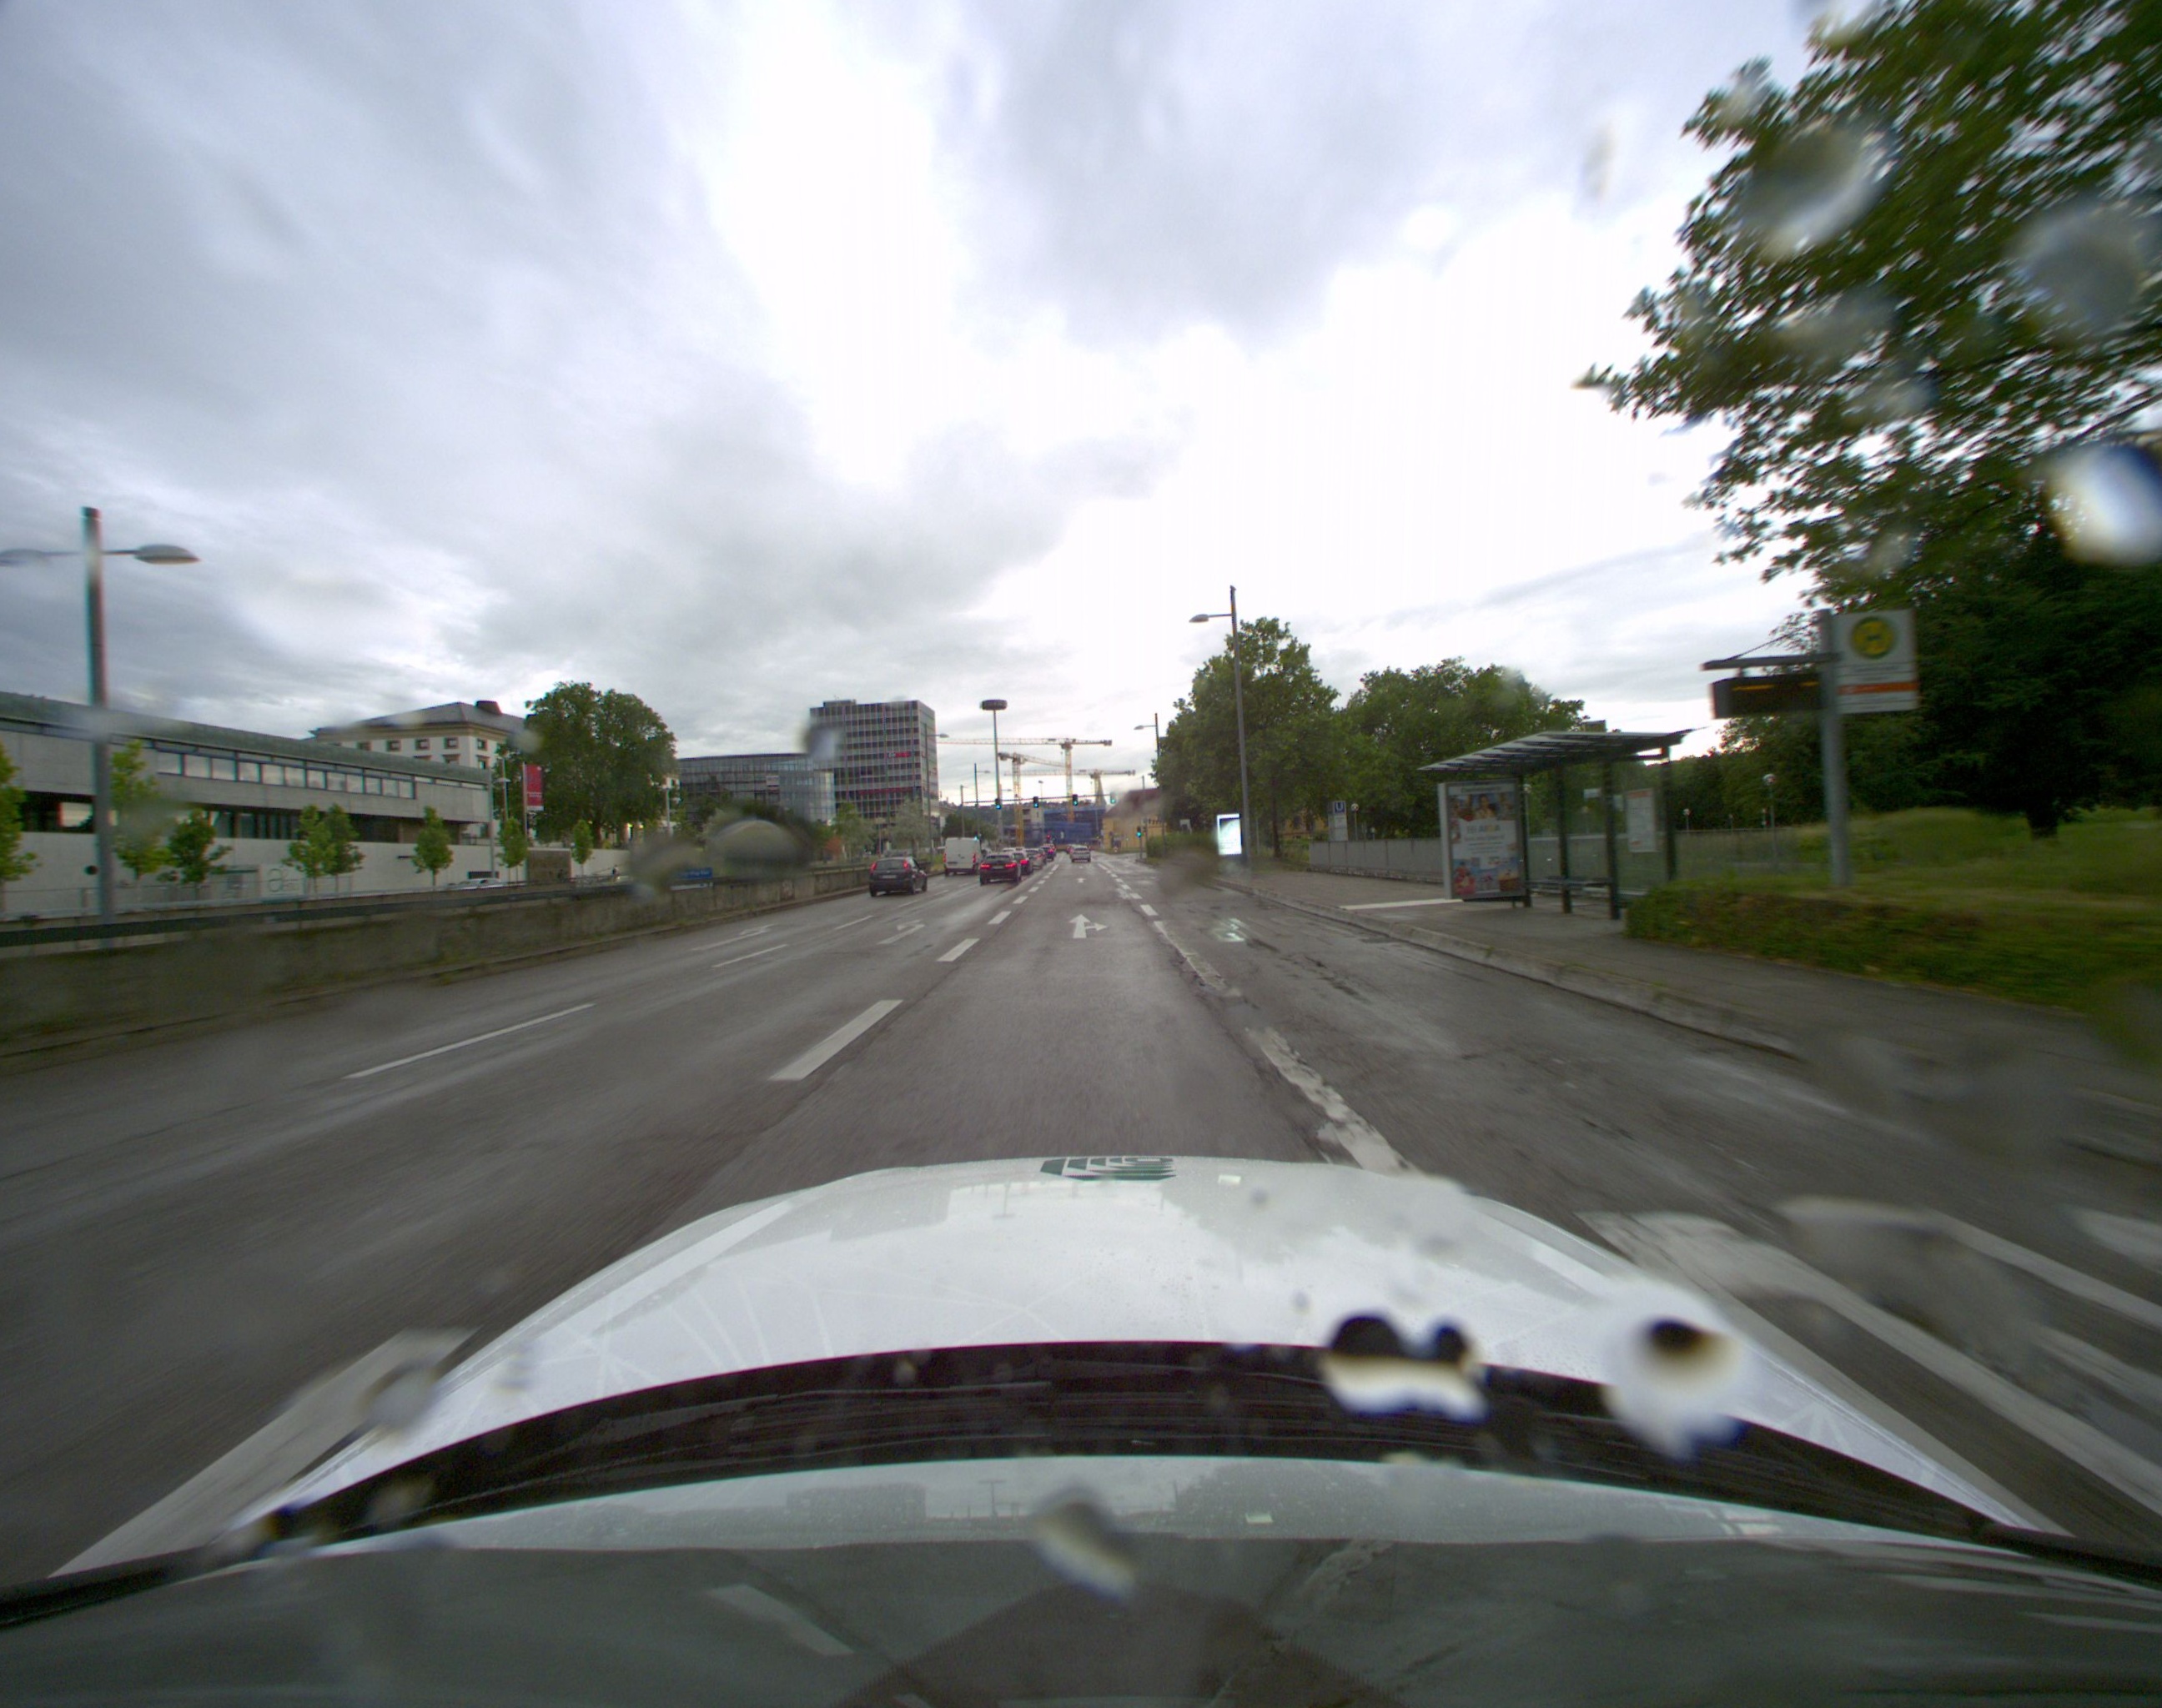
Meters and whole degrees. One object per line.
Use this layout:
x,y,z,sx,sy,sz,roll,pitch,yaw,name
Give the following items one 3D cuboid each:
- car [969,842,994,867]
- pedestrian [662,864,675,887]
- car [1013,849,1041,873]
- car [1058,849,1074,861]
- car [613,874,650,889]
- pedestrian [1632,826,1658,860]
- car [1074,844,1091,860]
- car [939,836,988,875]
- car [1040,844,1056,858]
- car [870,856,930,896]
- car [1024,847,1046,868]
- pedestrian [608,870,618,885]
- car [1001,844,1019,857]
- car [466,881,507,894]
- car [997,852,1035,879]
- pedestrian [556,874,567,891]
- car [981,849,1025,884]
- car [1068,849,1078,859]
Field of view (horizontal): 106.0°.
-7.255,0.067,59.397,1.460,1.706,3.138,-2,-1,-2,car
-40.347,2.099,79.660,0.763,2.090,0.728,-1,5,7,pedestrian
-3.866,0.506,58.883,1.876,1.653,3.454,-2,-1,-3,car
-2.352,0.193,127.862,2.152,1.879,3.773,-2,-1,3,car
-37.758,2.321,68.530,1.436,1.114,3.019,-2,-1,-1,car
28.135,-0.545,40.650,0.767,1.692,0.649,-2,-1,1,pedestrian
0.131,-0.164,75.325,1.438,1.359,2.414,-2,-1,3,car
-7.410,0.108,51.951,2.285,2.314,5.005,-2,-1,0,car
-3.381,-0.315,84.358,1.489,1.369,3.032,-2,-1,0,car
-6.943,0.824,31.572,1.538,1.415,3.898,-2,-1,-2,car
-4.014,0.342,71.328,1.710,1.727,3.494,-2,-1,0,car
-44.358,2.248,77.245,0.489,1.423,0.634,-2,-1,6,pedestrian
-7.126,-0.370,82.223,1.546,1.260,2.580,-2,-1,0,car
-37.365,2.084,51.258,0.817,0.745,2.550,-2,-1,-3,car
-3.810,0.656,48.418,1.823,1.494,3.400,-2,-1,2,car
-42.684,2.305,66.901,0.465,1.383,0.577,-2,-1,3,pedestrian
-3.707,0.559,39.367,1.748,1.471,4.220,-2,1,-1,car
-0.907,0.024,92.397,1.072,0.990,1.973,-2,-2,3,car
